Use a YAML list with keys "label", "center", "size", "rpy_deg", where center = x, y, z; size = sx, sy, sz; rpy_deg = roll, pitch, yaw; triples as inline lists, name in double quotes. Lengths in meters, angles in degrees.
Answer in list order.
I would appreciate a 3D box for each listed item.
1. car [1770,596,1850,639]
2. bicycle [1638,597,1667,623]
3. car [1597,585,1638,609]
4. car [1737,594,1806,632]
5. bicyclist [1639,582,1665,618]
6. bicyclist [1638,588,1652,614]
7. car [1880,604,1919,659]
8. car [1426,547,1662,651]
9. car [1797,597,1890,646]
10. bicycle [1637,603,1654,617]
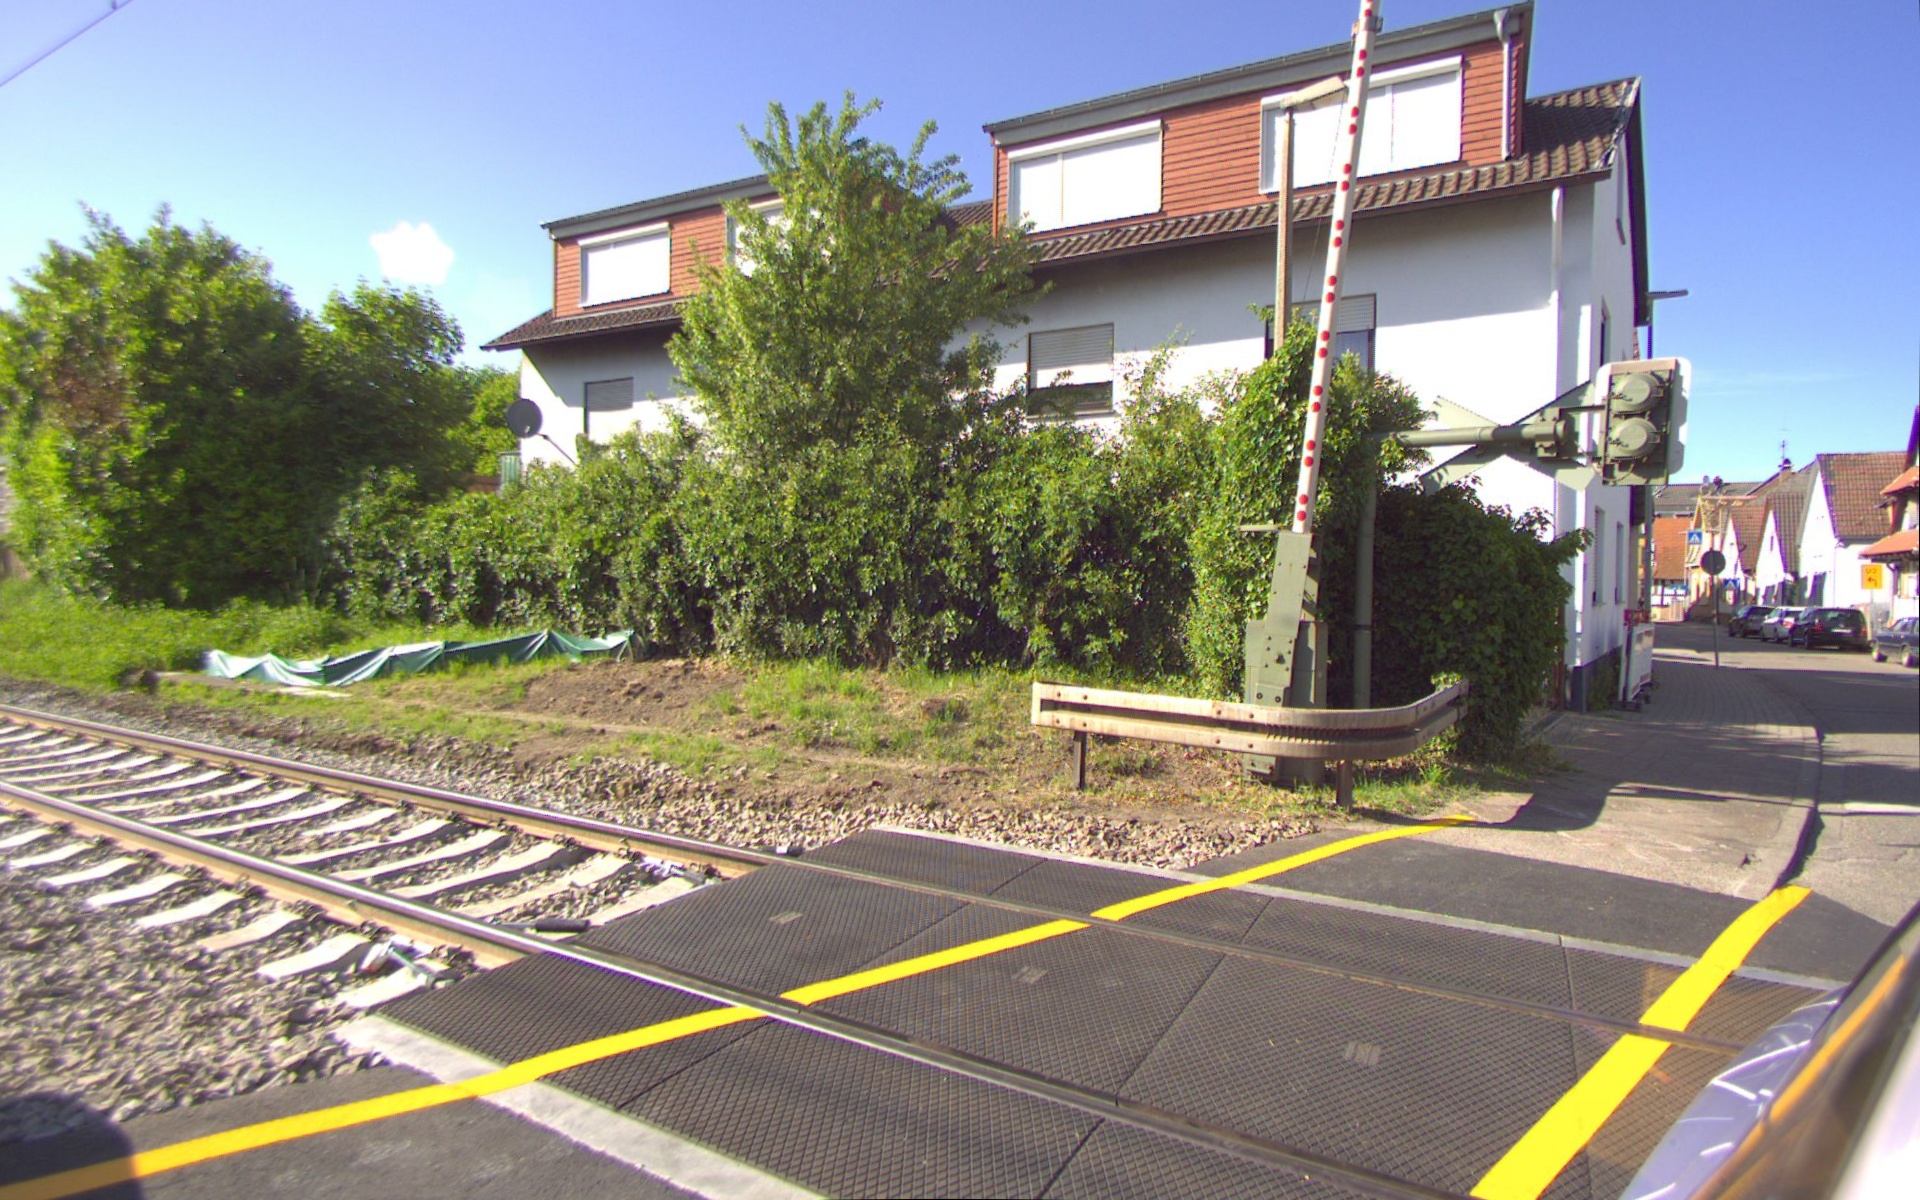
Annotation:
- label: "car"
  center: [35.497, 0.681, 42.380]
  size: [1.807, 1.586, 4.124]
  rpy_deg: [2, 2, 30]
- label: "bicycle"
  center: [46.320, 0.665, 67.713]
  size: [1.247, 1.571, 3.958]
  rpy_deg: [-2, 0, 30]
- label: "car"
  center: [57.026, -0.299, 87.833]
  size: [1.858, 1.904, 4.805]
  rpy_deg: [2, 2, 19]
- label: "car"
  center: [38.647, 0.583, 48.288]
  size: [1.732, 1.634, 3.962]
  rpy_deg: [2, 2, 27]
- label: "bicyclist"
  center: [46.306, 0.019, 67.718]
  size: [1.247, 2.337, 1.230]
  rpy_deg: [-2, 0, 30]
- label: "bicyclist"
  center: [41.558, 0.049, 61.396]
  size: [0.605, 1.552, 0.649]
  rpy_deg: [-2, 0, 28]
- label: "car"
  center: [27.238, 0.905, 27.794]
  size: [1.835, 1.423, 4.984]
  rpy_deg: [3, 2, 30]
- label: "car"
  center: [17.080, -0.115, 30.012]
  size: [5.767, 2.687, 1.950]
  rpy_deg: [4, 3, 27]
- label: "car"
  center: [32.905, 0.737, 37.808]
  size: [1.775, 1.624, 4.315]
  rpy_deg: [2, 1, 30]
- label: "bicycle"
  center: [41.574, 0.595, 61.394]
  size: [0.619, 0.789, 1.894]
  rpy_deg: [-2, 0, 28]
